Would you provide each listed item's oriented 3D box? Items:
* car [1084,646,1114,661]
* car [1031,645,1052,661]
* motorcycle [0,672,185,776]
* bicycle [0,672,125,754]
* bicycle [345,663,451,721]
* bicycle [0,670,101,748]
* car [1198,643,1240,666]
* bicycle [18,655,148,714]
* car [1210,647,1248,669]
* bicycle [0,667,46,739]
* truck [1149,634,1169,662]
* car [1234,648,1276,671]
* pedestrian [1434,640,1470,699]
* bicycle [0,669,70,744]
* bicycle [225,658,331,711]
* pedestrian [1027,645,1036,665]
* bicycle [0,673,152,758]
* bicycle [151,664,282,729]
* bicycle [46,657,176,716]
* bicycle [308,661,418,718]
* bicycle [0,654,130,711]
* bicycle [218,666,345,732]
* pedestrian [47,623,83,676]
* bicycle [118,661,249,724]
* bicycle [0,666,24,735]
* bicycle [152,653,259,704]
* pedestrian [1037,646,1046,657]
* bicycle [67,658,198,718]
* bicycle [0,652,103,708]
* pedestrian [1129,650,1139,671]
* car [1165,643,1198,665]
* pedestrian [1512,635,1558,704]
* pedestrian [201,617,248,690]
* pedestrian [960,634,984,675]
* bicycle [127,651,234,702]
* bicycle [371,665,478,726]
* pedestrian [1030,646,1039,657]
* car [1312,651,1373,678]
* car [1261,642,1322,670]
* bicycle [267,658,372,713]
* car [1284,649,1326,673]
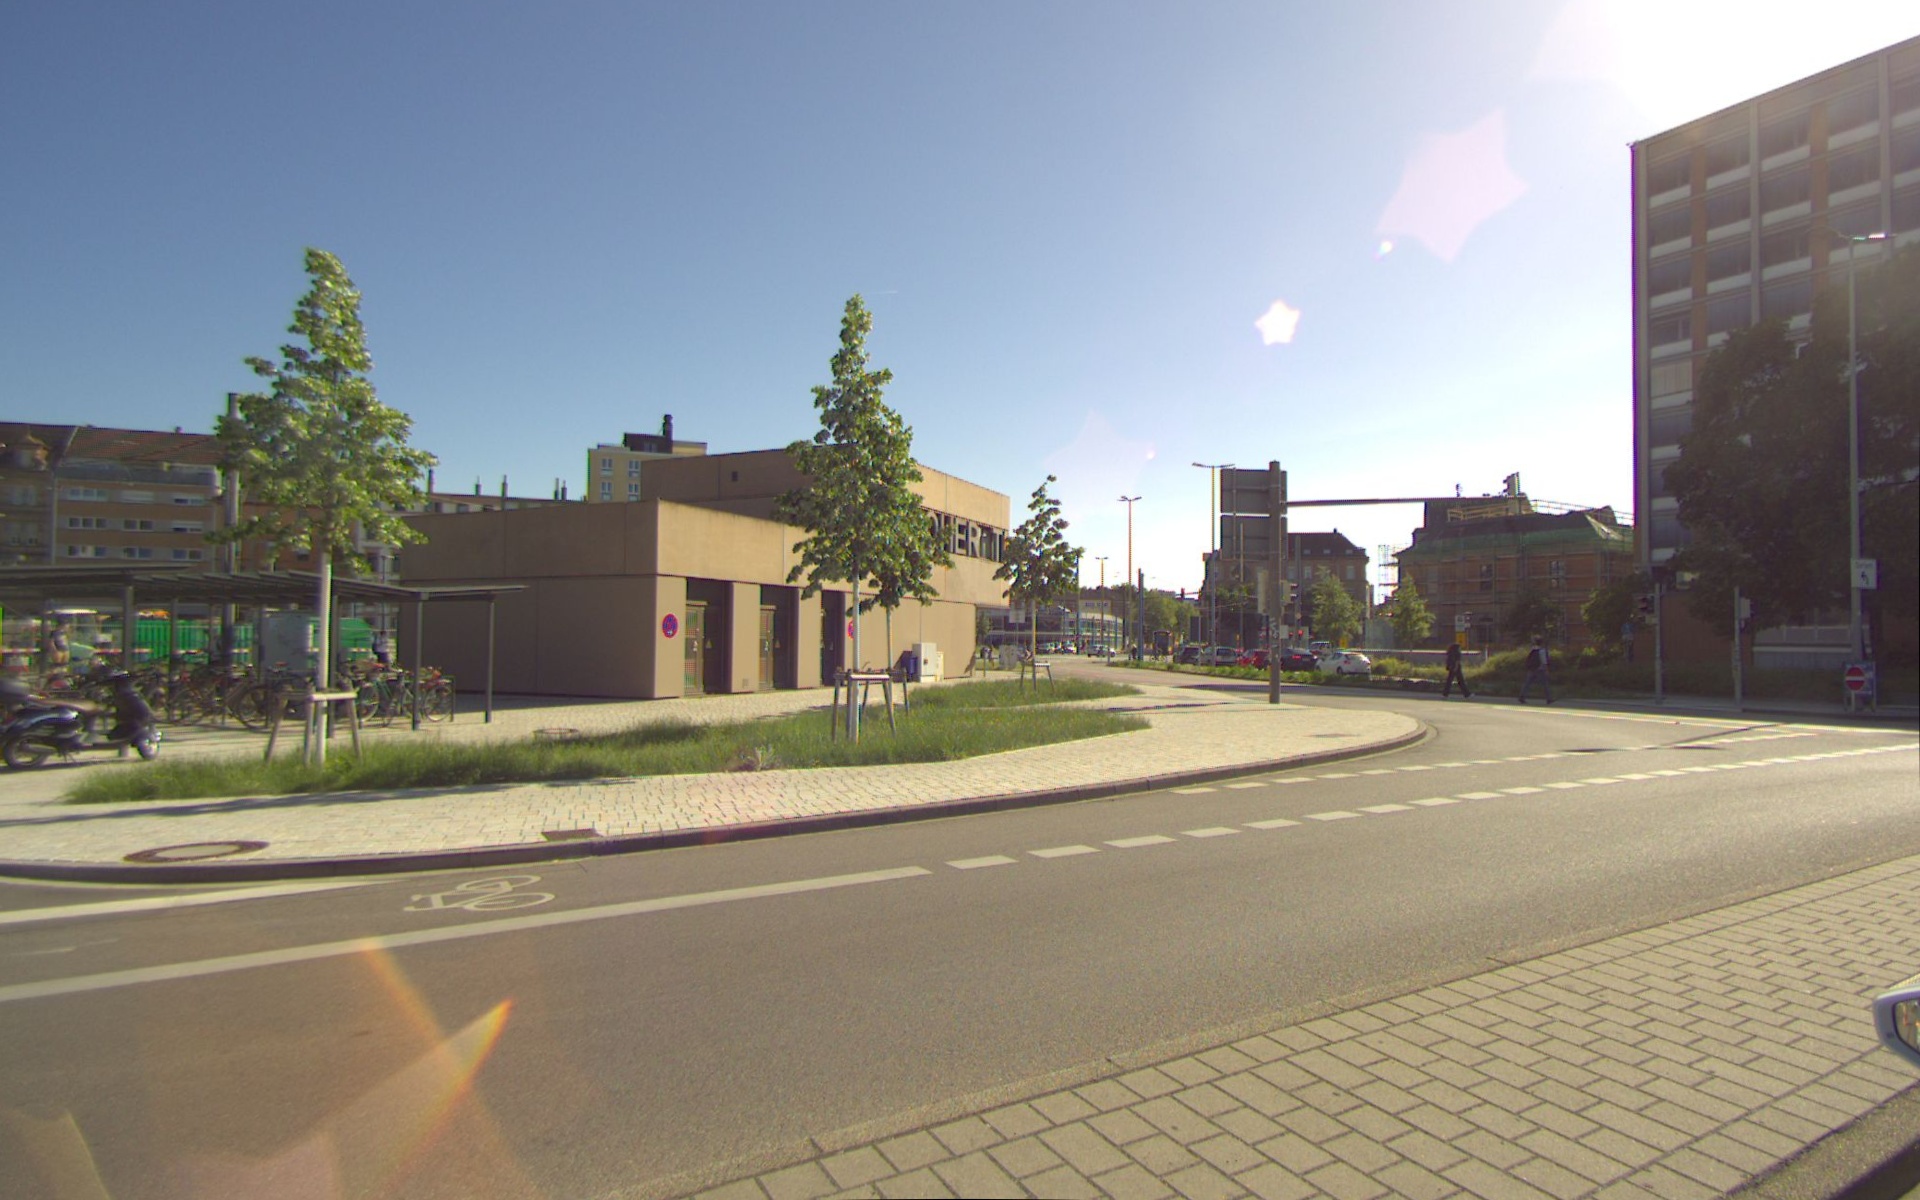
[{"bbox_3d":[16.497,6.361,119.140,1.761,1.565,3.620,2,0,42],"label":"car"},{"bbox_3d":[11.082,7.175,136.553,1.960,2.040,4.001,2,0,16],"label":"car"},{"bbox_3d":[-10.927,1.498,12.481,0.584,1.134,1.983,0,-2,26],"label":"motorcycle"},{"bbox_3d":[-12.784,1.546,13.925,0.557,1.051,1.788,-1,-3,22],"label":"bicycle"},{"bbox_3d":[-10.638,1.719,19.073,0.557,1.051,1.788,-1,-3,22],"label":"bicycle"},{"bbox_3d":[-13.332,1.525,14.149,0.557,1.051,1.788,-1,-3,22],"label":"bicycle"},{"bbox_3d":[17.571,3.677,68.286,1.697,1.461,3.798,2,-2,-3],"label":"car"},{"bbox_3d":[-16.624,1.582,19.094,0.557,1.051,1.788,-1,-3,22],"label":"bicycle"},{"bbox_3d":[20.247,4.351,75.664,1.697,1.461,3.799,3,-2,-2],"label":"car"},{"bbox_3d":[-14.592,1.513,14.647,0.557,1.051,1.788,-1,-3,22],"label":"bicycle"},{"bbox_3d":[28.100,6.715,141.918,2.549,3.723,5.229,2,0,10],"label":"truck"},{"bbox_3d":[20.252,4.054,69.064,1.644,1.461,3.722,3,-2,-2],"label":"car"},{"bbox_3d":[13.965,1.973,28.534,0.669,1.633,0.719,1,-2,-3],"label":"pedestrian"},{"bbox_3d":[-14.015,1.529,14.405,0.557,1.051,1.788,-1,-3,22],"label":"bicycle"},{"bbox_3d":[-14.096,1.724,20.806,0.557,1.051,1.788,-1,-3,22],"label":"bicycle"},{"bbox_3d":[5.942,4.553,83.136,0.643,1.632,0.676,2,0,-4],"label":"pedestrian"},{"bbox_3d":[-12.185,1.541,13.665,0.557,1.051,1.788,-1,-3,22],"label":"bicycle"},{"bbox_3d":[-12.946,1.656,17.558,0.557,1.051,1.788,-1,-3,22],"label":"bicycle"},{"bbox_3d":[-15.884,1.589,18.851,0.557,1.051,1.788,-1,-3,22],"label":"bicycle"},{"bbox_3d":[-11.648,1.722,19.657,0.558,1.051,1.785,-2,-4,30],"label":"bicycle"},{"bbox_3d":[-17.185,1.560,19.331,0.557,1.051,1.788,-1,-3,22],"label":"bicycle"},{"bbox_3d":[-11.677,1.683,17.362,0.557,1.051,1.788,-1,-3,22],"label":"bicycle"},{"bbox_3d":[-26.105,1.440,29.302,0.550,1.538,0.588,0,-2,25],"label":"pedestrian"},{"bbox_3d":[-13.841,1.631,17.960,0.557,1.051,1.788,-1,-3,22],"label":"bicycle"},{"bbox_3d":[-15.208,1.514,14.932,0.557,1.051,1.788,-1,-3,22],"label":"bicycle"},{"bbox_3d":[-16.191,1.664,21.603,0.557,1.051,1.788,-1,-3,22],"label":"bicycle"},{"bbox_3d":[10.349,6.552,127.747,0.855,1.427,0.688,2,0,-32],"label":"pedestrian"},{"bbox_3d":[-15.242,1.591,18.555,0.557,1.051,1.788,-1,-3,22],"label":"bicycle"},{"bbox_3d":[-17.866,1.537,19.502,0.557,1.051,1.788,-1,-3,22],"label":"bicycle"},{"bbox_3d":[14.340,4.983,82.620,0.566,1.632,0.565,2,0,-30],"label":"pedestrian"},{"bbox_3d":[16.522,4.027,75.145,1.696,1.461,3.912,3,-2,2],"label":"car"},{"bbox_3d":[15.791,1.898,27.576,1.086,1.856,0.748,4,-3,-38],"label":"pedestrian"},{"bbox_3d":[-18.003,1.305,24.594,0.606,1.746,0.682,0,-2,22],"label":"pedestrian"},{"bbox_3d":[0.518,2.328,42.823,0.778,1.745,0.594,-2,-5,38],"label":"pedestrian"},{"bbox_3d":[-16.869,1.645,21.787,0.557,1.051,1.788,-1,-3,22],"label":"bicycle"},{"bbox_3d":[-9.849,1.732,18.545,0.557,1.051,1.788,-1,-3,22],"label":"bicycle"},{"bbox_3d":[9.432,6.521,127.171,0.855,1.427,0.688,2,0,-32],"label":"pedestrian"},{"bbox_3d":[21.281,3.575,56.056,1.665,1.454,3.733,1,-2,-7],"label":"car"},{"bbox_3d":[20.730,3.503,63.033,1.953,1.645,4.374,1,-2,-7],"label":"car"},{"bbox_3d":[-12.926,1.709,20.335,0.557,1.051,1.788,-1,-3,22],"label":"bicycle"},{"bbox_3d":[25.874,4.565,75.460,1.846,1.638,3.626,2,-3,0],"label":"car"}]
